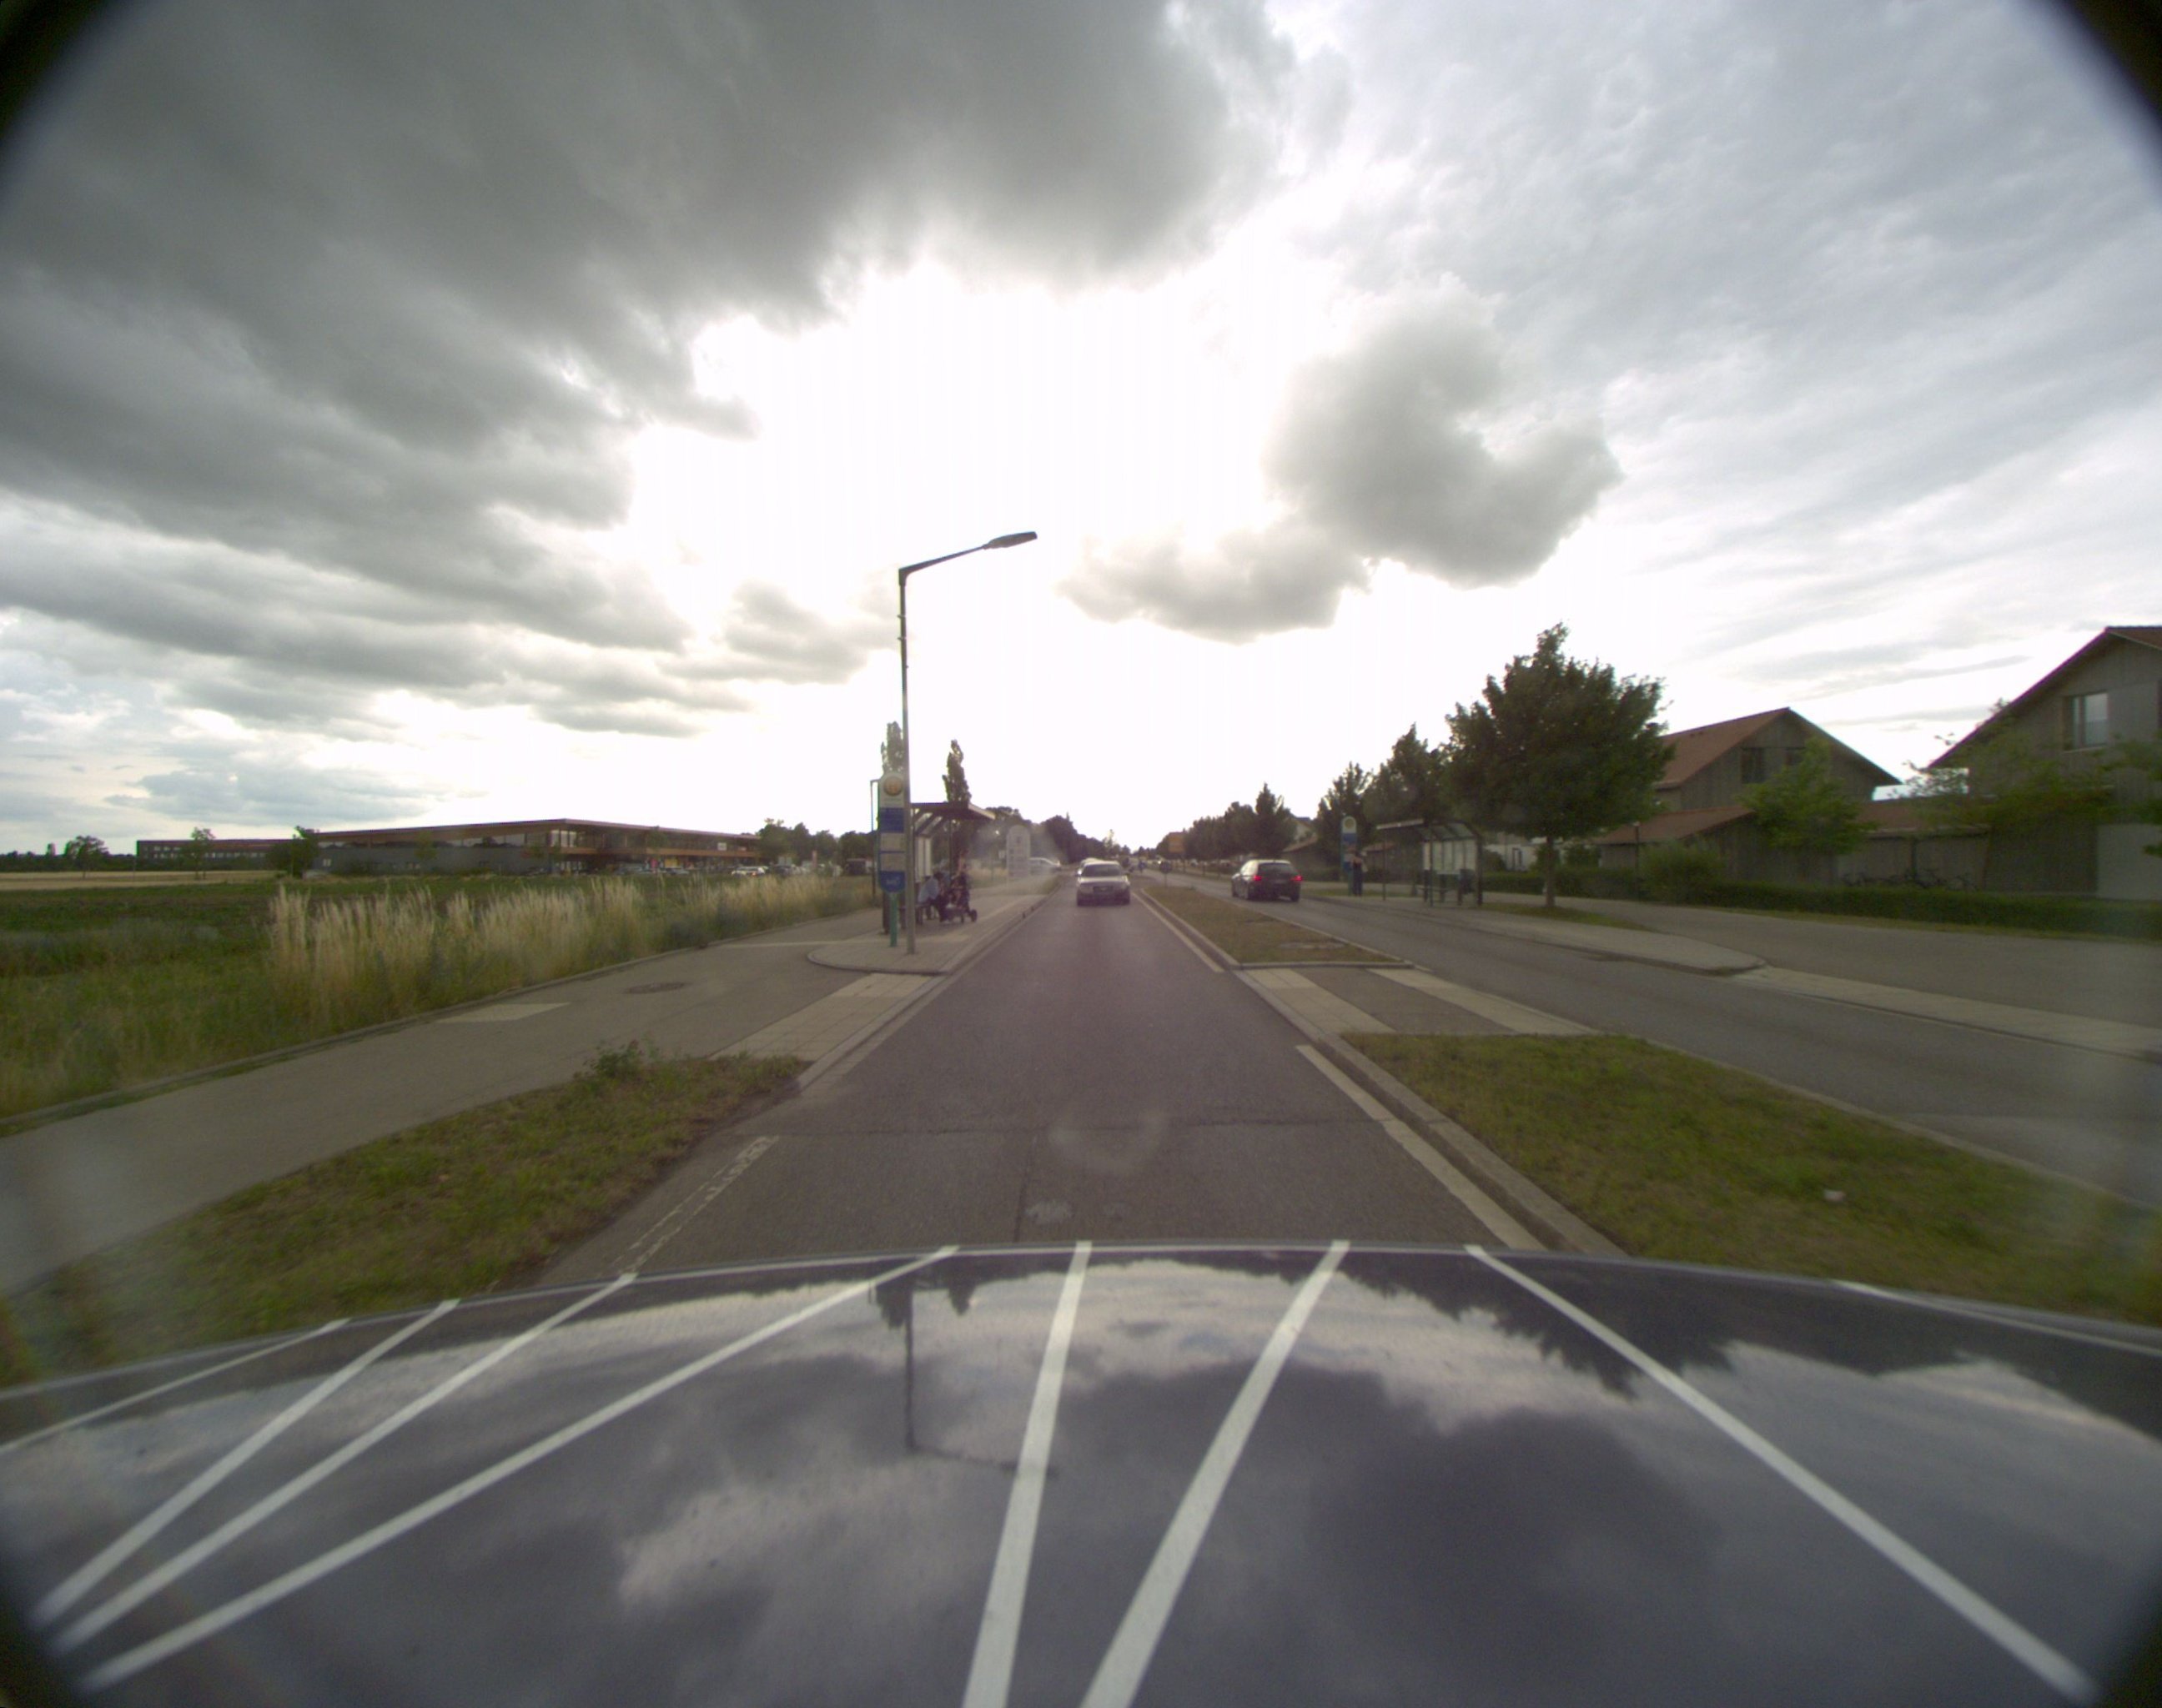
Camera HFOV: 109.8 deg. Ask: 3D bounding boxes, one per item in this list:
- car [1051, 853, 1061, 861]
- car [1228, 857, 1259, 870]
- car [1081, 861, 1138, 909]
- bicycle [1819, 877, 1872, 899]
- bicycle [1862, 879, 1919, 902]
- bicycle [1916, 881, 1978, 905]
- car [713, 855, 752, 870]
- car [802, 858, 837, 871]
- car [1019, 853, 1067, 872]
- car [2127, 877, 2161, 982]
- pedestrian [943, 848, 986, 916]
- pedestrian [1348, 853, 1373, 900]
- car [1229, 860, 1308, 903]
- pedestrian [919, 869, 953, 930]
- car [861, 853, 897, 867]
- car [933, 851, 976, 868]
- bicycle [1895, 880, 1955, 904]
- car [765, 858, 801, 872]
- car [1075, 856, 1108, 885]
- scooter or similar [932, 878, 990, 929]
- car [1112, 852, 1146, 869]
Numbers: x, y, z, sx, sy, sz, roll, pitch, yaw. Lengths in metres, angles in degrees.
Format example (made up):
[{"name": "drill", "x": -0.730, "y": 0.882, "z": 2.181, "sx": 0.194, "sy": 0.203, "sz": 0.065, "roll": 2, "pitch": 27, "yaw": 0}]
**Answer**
[{"name": "car", "x": -5.968, "y": 0.738, "z": 182.996, "sx": 1.998, "sy": 2.002, "sz": 4.000, "roll": -2, "pitch": 0, "yaw": 1}, {"name": "car", "x": 26.264, "y": 1.503, "z": 122.966, "sx": 4.568, "sy": 2.002, "sz": 2.001, "roll": -2, "pitch": 1, "yaw": 5}, {"name": "car", "x": 0.927, "y": 1.002, "z": 26.497, "sx": 1.763, "sy": 1.410, "sz": 4.520, "roll": -2, "pitch": 0, "yaw": 1}, {"name": "bicycle", "x": 33.402, "y": 1.487, "z": 33.206, "sx": 1.946, "sy": 0.904, "sz": 0.419, "roll": 0, "pitch": 0, "yaw": -1}, {"name": "bicycle", "x": 33.448, "y": 1.498, "z": 31.404, "sx": 1.946, "sy": 0.904, "sz": 0.419, "roll": 0, "pitch": 0, "yaw": -1}, {"name": "bicycle", "x": 33.414, "y": 1.503, "z": 29.324, "sx": 1.946, "sy": 0.904, "sz": 0.419, "roll": 0, "pitch": 0, "yaw": -1}, {"name": "car", "x": -52.522, "y": 1.221, "z": 114.464, "sx": 4.858, "sy": 2.002, "sz": 1.999, "roll": -2, "pitch": 1, "yaw": -7}, {"name": "car", "x": -45.799, "y": 1.842, "z": 133.099, "sx": 5.527, "sy": 2.002, "sz": 1.999, "roll": -2, "pitch": 1, "yaw": -6}, {"name": "car", "x": -4.417, "y": 0.927, "z": 88.113, "sx": 5.313, "sy": 2.002, "sz": 2.000, "roll": -2, "pitch": 1, "yaw": 2}, {"name": "car", "x": 22.654, "y": 1.433, "z": 14.040, "sx": 3.997, "sy": 2.002, "sz": 2.000, "roll": 0, "pitch": 0, "yaw": -1}, {"name": "pedestrian", "x": -3.157, "y": 0.758, "z": 20.638, "sx": 0.782, "sy": 1.782, "sz": 0.780, "roll": -2, "pitch": 1, "yaw": 22}, {"name": "pedestrian", "x": 9.938, "y": 0.786, "z": 26.995, "sx": 0.590, "sy": 1.626, "sz": 0.813, "roll": 0, "pitch": 0, "yaw": 0}, {"name": "car", "x": 6.851, "y": 0.949, "z": 28.258, "sx": 1.925, "sy": 1.445, "sz": 4.497, "roll": 0, "pitch": 0, "yaw": 2}, {"name": "pedestrian", "x": -3.245, "y": 1.011, "z": 16.999, "sx": 0.667, "sy": 1.295, "sz": 0.504, "roll": -2, "pitch": 1, "yaw": -11}, {"name": "car", "x": -33.887, "y": 0.996, "z": 127.797, "sx": 5.527, "sy": 2.002, "sz": 1.999, "roll": -2, "pitch": 1, "yaw": -6}, {"name": "car", "x": -17.259, "y": 0.752, "z": 103.762, "sx": 5.527, "sy": 2.002, "sz": 1.999, "roll": -2, "pitch": 1, "yaw": -6}, {"name": "bicycle", "x": 33.441, "y": 1.497, "z": 30.112, "sx": 1.946, "sy": 0.904, "sz": 0.419, "roll": 0, "pitch": 0, "yaw": -1}, {"name": "car", "x": -46.195, "y": 1.709, "z": 117.904, "sx": 4.858, "sy": 2.002, "sz": 1.999, "roll": -2, "pitch": 1, "yaw": -7}, {"name": "car", "x": 0.586, "y": 0.927, "z": 44.181, "sx": 1.763, "sy": 1.495, "sz": 4.691, "roll": -2, "pitch": 0, "yaw": 1}, {"name": "scooter or similar", "x": -2.729, "y": 1.112, "z": 17.300, "sx": 0.707, "sy": 1.056, "sz": 1.062, "roll": -1, "pitch": 1, "yaw": 38}, {"name": "car", "x": 6.009, "y": 0.789, "z": 94.027, "sx": 2.556, "sy": 2.002, "sz": 5.325, "roll": -2, "pitch": 0, "yaw": 23}]
